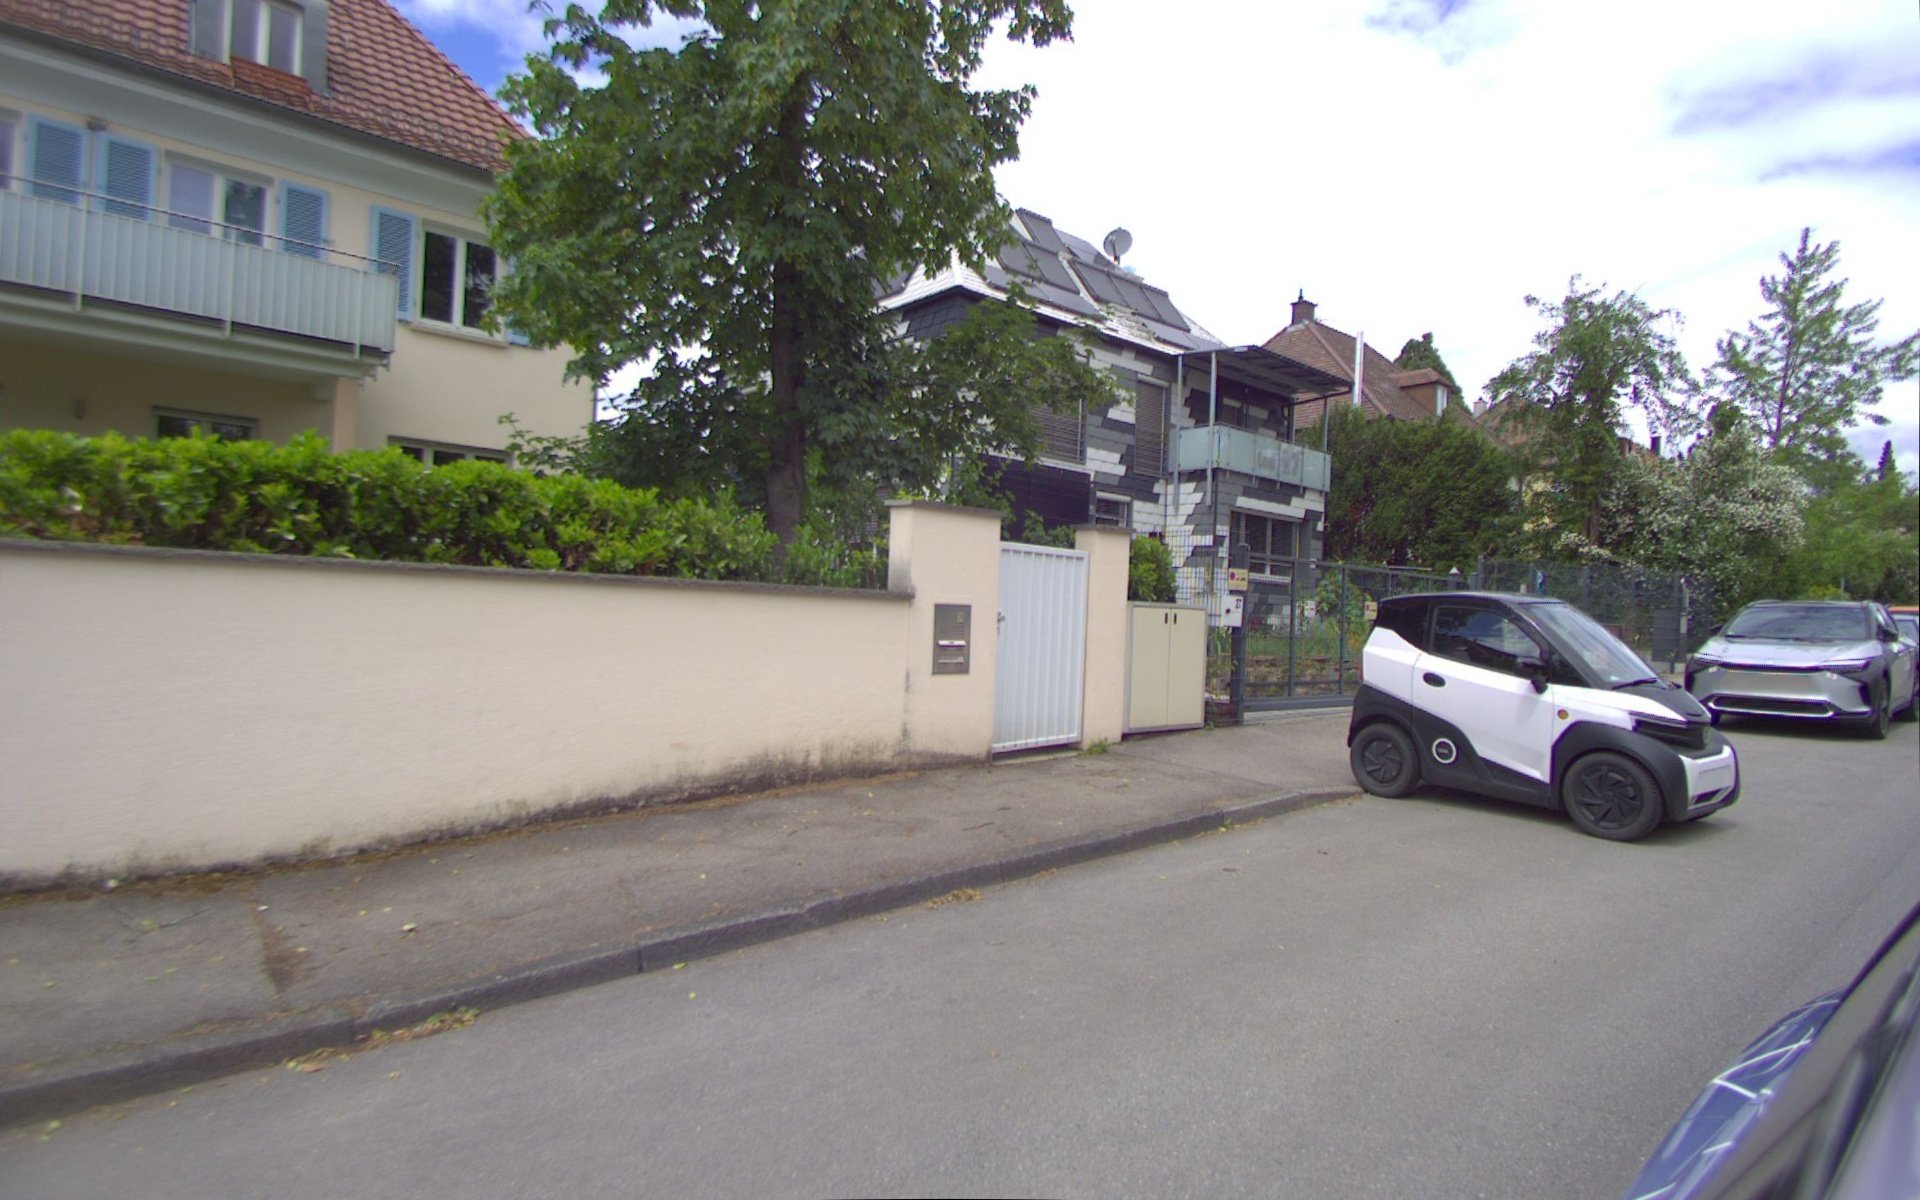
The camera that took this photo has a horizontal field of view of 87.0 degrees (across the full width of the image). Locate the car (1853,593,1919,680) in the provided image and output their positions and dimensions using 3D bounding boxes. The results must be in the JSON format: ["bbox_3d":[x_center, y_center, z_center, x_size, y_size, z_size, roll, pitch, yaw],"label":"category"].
[{"bbox_3d":[19.683,0.702,20.518,4.097,1.647,1.853,0,-1,-41],"label":"car"}]

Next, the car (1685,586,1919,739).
[{"bbox_3d":[11.076,0.663,13.019,4.412,1.644,1.833,0,0,-40],"label":"car"}]

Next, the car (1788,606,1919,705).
[{"bbox_3d":[15.005,0.809,16.424,4.161,1.399,1.719,0,0,-40],"label":"car"}]

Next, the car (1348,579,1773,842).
[{"bbox_3d":[4.221,0.648,7.318,1.293,1.543,2.295,1,0,-35],"label":"car"}]
